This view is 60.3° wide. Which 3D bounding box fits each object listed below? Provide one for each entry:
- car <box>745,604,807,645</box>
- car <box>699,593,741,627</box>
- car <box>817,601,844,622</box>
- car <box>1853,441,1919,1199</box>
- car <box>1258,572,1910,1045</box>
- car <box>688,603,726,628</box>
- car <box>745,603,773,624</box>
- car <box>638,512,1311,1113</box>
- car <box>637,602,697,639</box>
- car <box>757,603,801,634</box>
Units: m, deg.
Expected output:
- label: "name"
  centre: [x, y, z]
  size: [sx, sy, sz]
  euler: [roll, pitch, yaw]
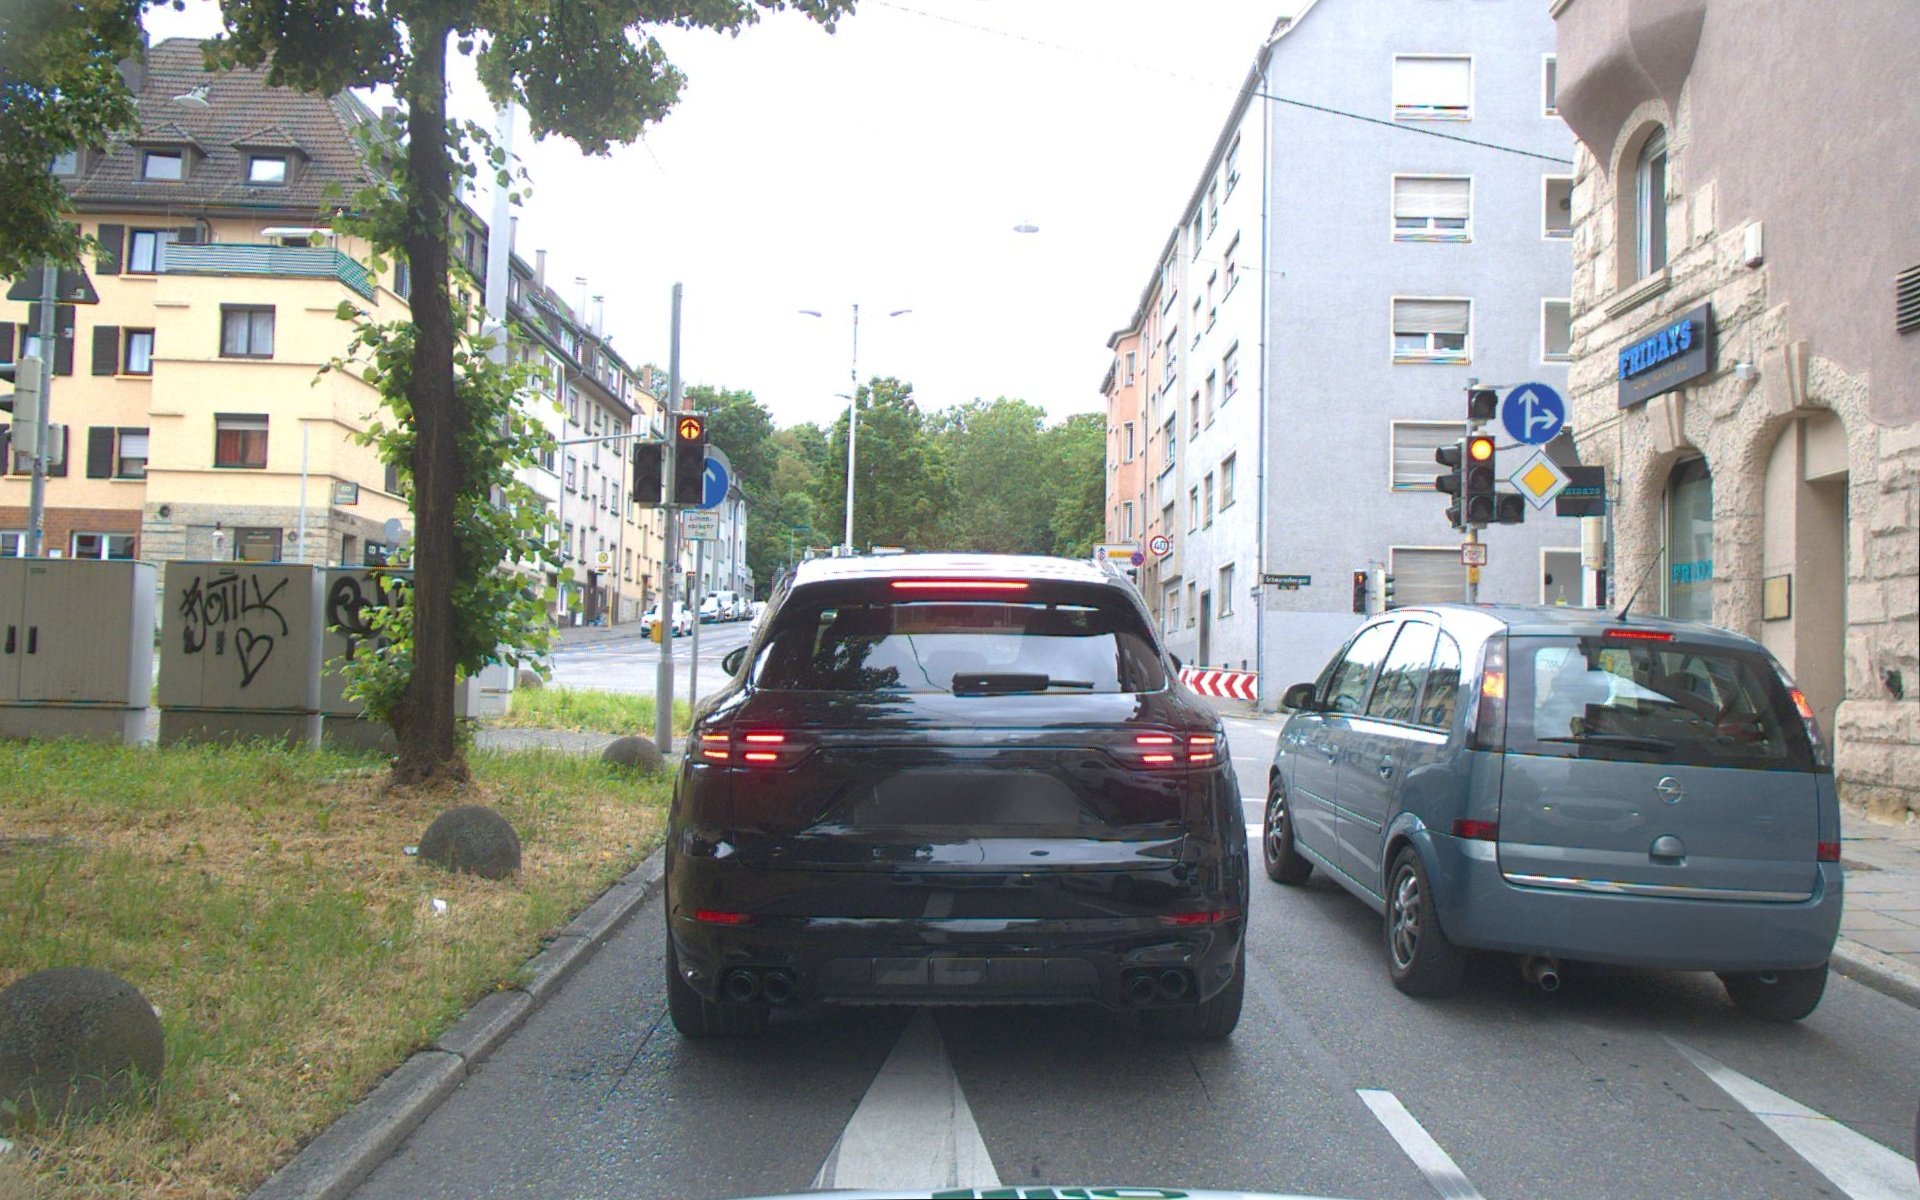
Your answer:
- label: "car"
  centre: [-6.686, 0.859, 60.437]
  size: [1.824, 1.412, 4.094]
  euler: [1, 0, 0]
- label: "car"
  centre: [-15.101, 0.631, 104.293]
  size: [1.975, 2.081, 4.666]
  euler: [1, 0, 0]
- label: "car"
  centre: [-9.726, 0.906, 124.295]
  size: [1.585, 1.506, 3.824]
  euler: [1, -1, 3]
- label: "car"
  centre: [2.889, 0.654, 1.031]
  size: [1.936, 1.806, 4.674]
  euler: [4, 0, -2]
- label: "car"
  centre: [2.624, 0.774, 7.901]
  size: [1.596, 1.625, 3.668]
  euler: [4, 0, -1]
- label: "car"
  centre: [-15.064, 0.898, 98.691]
  size: [1.703, 1.411, 3.813]
  euler: [1, 0, 0]
- label: "car"
  centre: [-15.151, 1.020, 124.761]
  size: [1.655, 1.565, 3.813]
  euler: [1, 0, 0]
- label: "car"
  centre: [0.018, 0.615, 6.722]
  size: [1.916, 1.704, 3.999]
  euler: [0, 0, -1]
- label: "car"
  centre: [-12.558, 0.852, 71.099]
  size: [1.806, 1.512, 3.898]
  euler: [1, 0, 1]
- label: "car"
  centre: [-10.098, 1.009, 92.550]
  size: [1.933, 1.638, 4.557]
  euler: [1, 0, -1]
